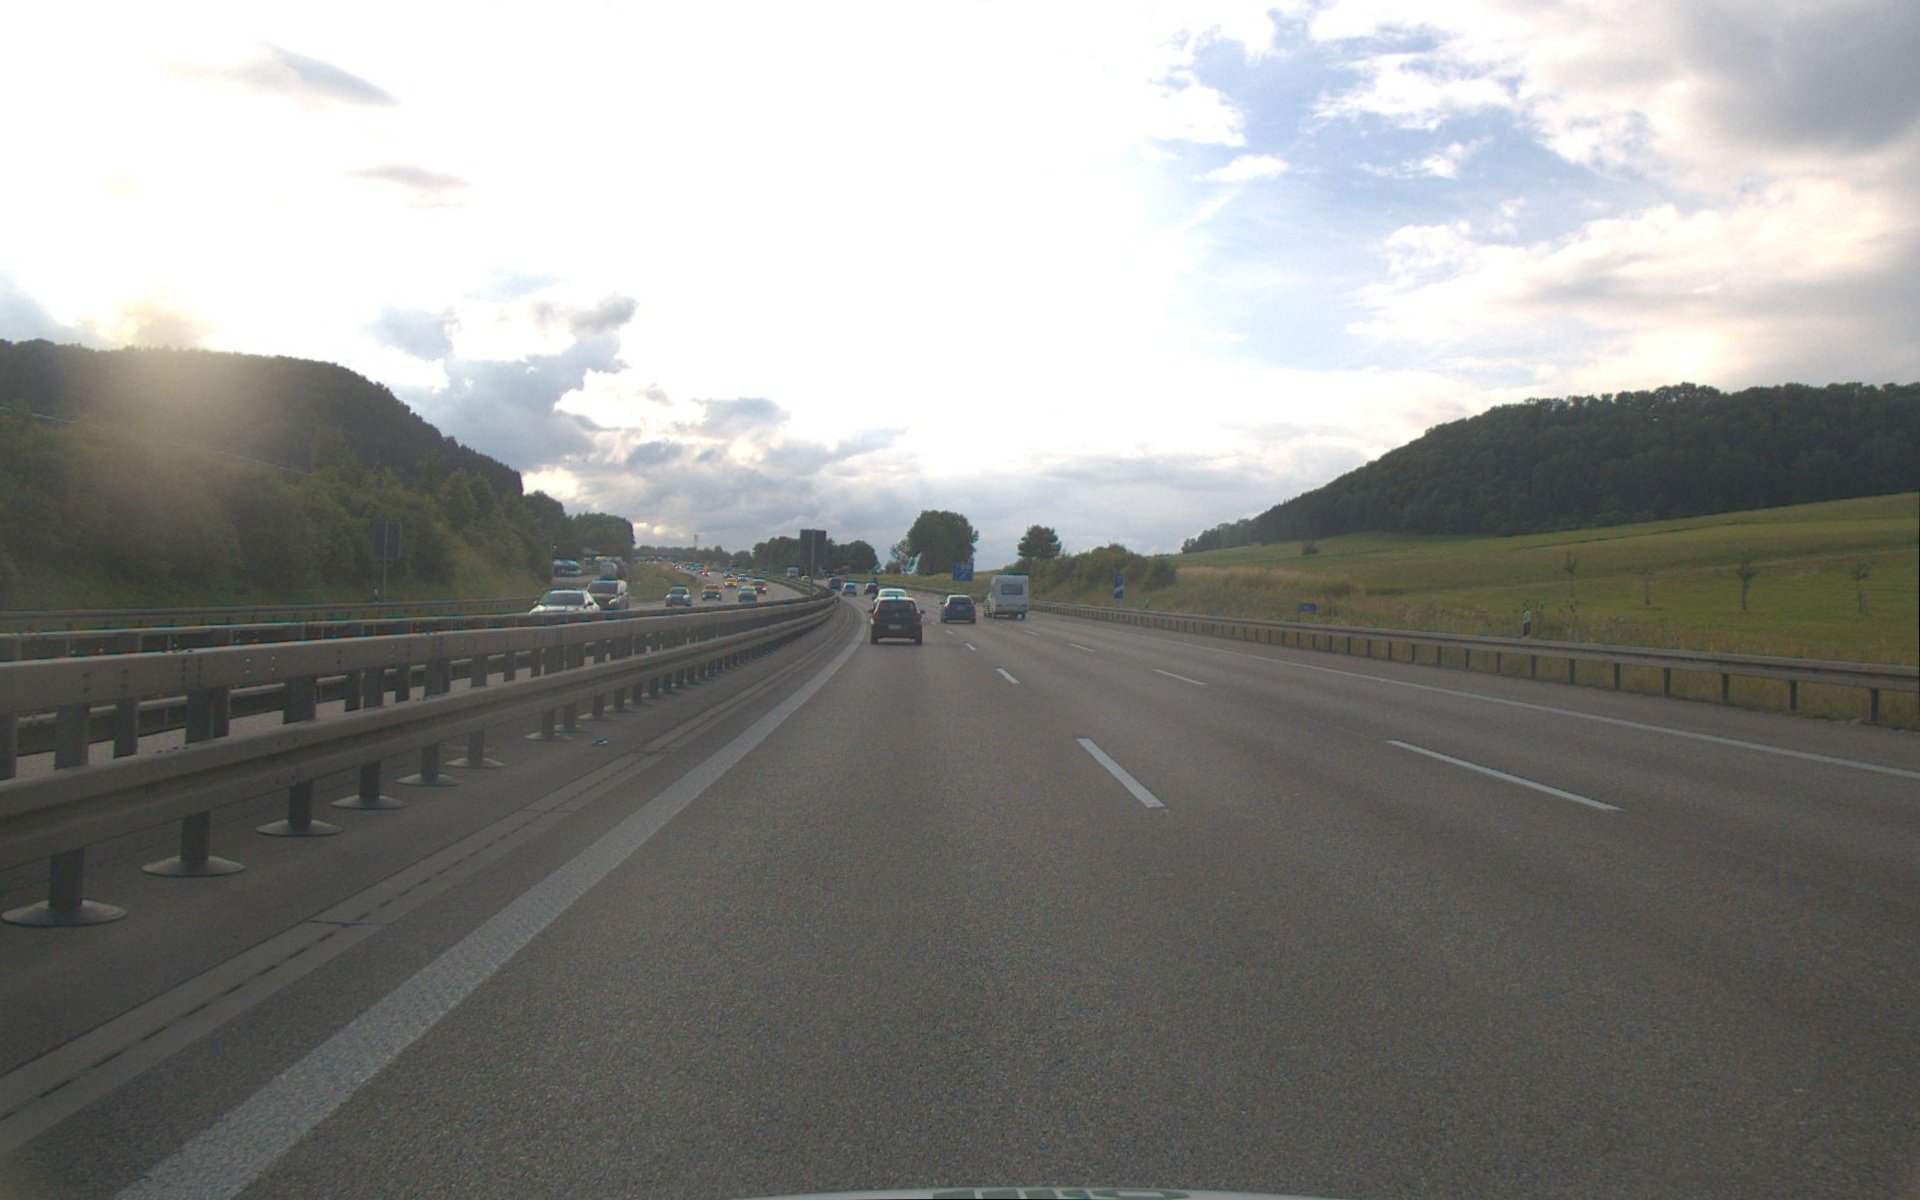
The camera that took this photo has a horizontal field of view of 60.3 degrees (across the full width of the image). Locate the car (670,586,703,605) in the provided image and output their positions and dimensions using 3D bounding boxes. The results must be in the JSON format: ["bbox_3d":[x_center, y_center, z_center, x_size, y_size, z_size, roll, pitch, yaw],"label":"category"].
[{"bbox_3d":[-20.513,-0.360,124.089,1.954,1.377,4.352,-1,1,-4],"label":"car"}]

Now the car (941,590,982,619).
[{"bbox_3d":[0.063,0.216,86.864,1.732,1.458,3.995,1,0,-5],"label":"car"}]

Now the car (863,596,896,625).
[{"bbox_3d":[-3.983,0.506,82.064,1.533,1.404,3.999,0,0,-1],"label":"car"}]

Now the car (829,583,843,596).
[{"bbox_3d":[-19.019,-1.617,253.735,1.955,2.049,3.995,0,0,-6],"label":"car"}]

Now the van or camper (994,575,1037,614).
[{"bbox_3d":[3.320,-0.326,99.813,2.495,2.278,5.329,0,0,1],"label":"van or camper"}]

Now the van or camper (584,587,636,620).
[{"bbox_3d":[-18.551,0.184,87.891,1.954,1.689,5.449,0,0,-4],"label":"van or camper"}]

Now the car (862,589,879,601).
[{"bbox_3d":[-12.138,-0.641,223.575,1.917,1.601,4.001,1,0,2],"label":"car"}]

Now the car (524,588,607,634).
[{"bbox_3d":[-13.204,0.355,55.650,1.954,1.455,4.583,1,0,-4],"label":"car"}]

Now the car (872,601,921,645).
[{"bbox_3d":[-2.032,0.711,52.790,1.507,1.371,3.675,0,0,-2],"label":"car"}]

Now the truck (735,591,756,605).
[{"bbox_3d":[-20.125,-0.189,155.433,1.956,1.243,3.994,-1,1,-7],"label":"truck"}]

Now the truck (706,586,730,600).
[{"bbox_3d":[-23.457,-0.701,160.678,1.954,1.377,3.944,-1,1,-4],"label":"truck"}]
